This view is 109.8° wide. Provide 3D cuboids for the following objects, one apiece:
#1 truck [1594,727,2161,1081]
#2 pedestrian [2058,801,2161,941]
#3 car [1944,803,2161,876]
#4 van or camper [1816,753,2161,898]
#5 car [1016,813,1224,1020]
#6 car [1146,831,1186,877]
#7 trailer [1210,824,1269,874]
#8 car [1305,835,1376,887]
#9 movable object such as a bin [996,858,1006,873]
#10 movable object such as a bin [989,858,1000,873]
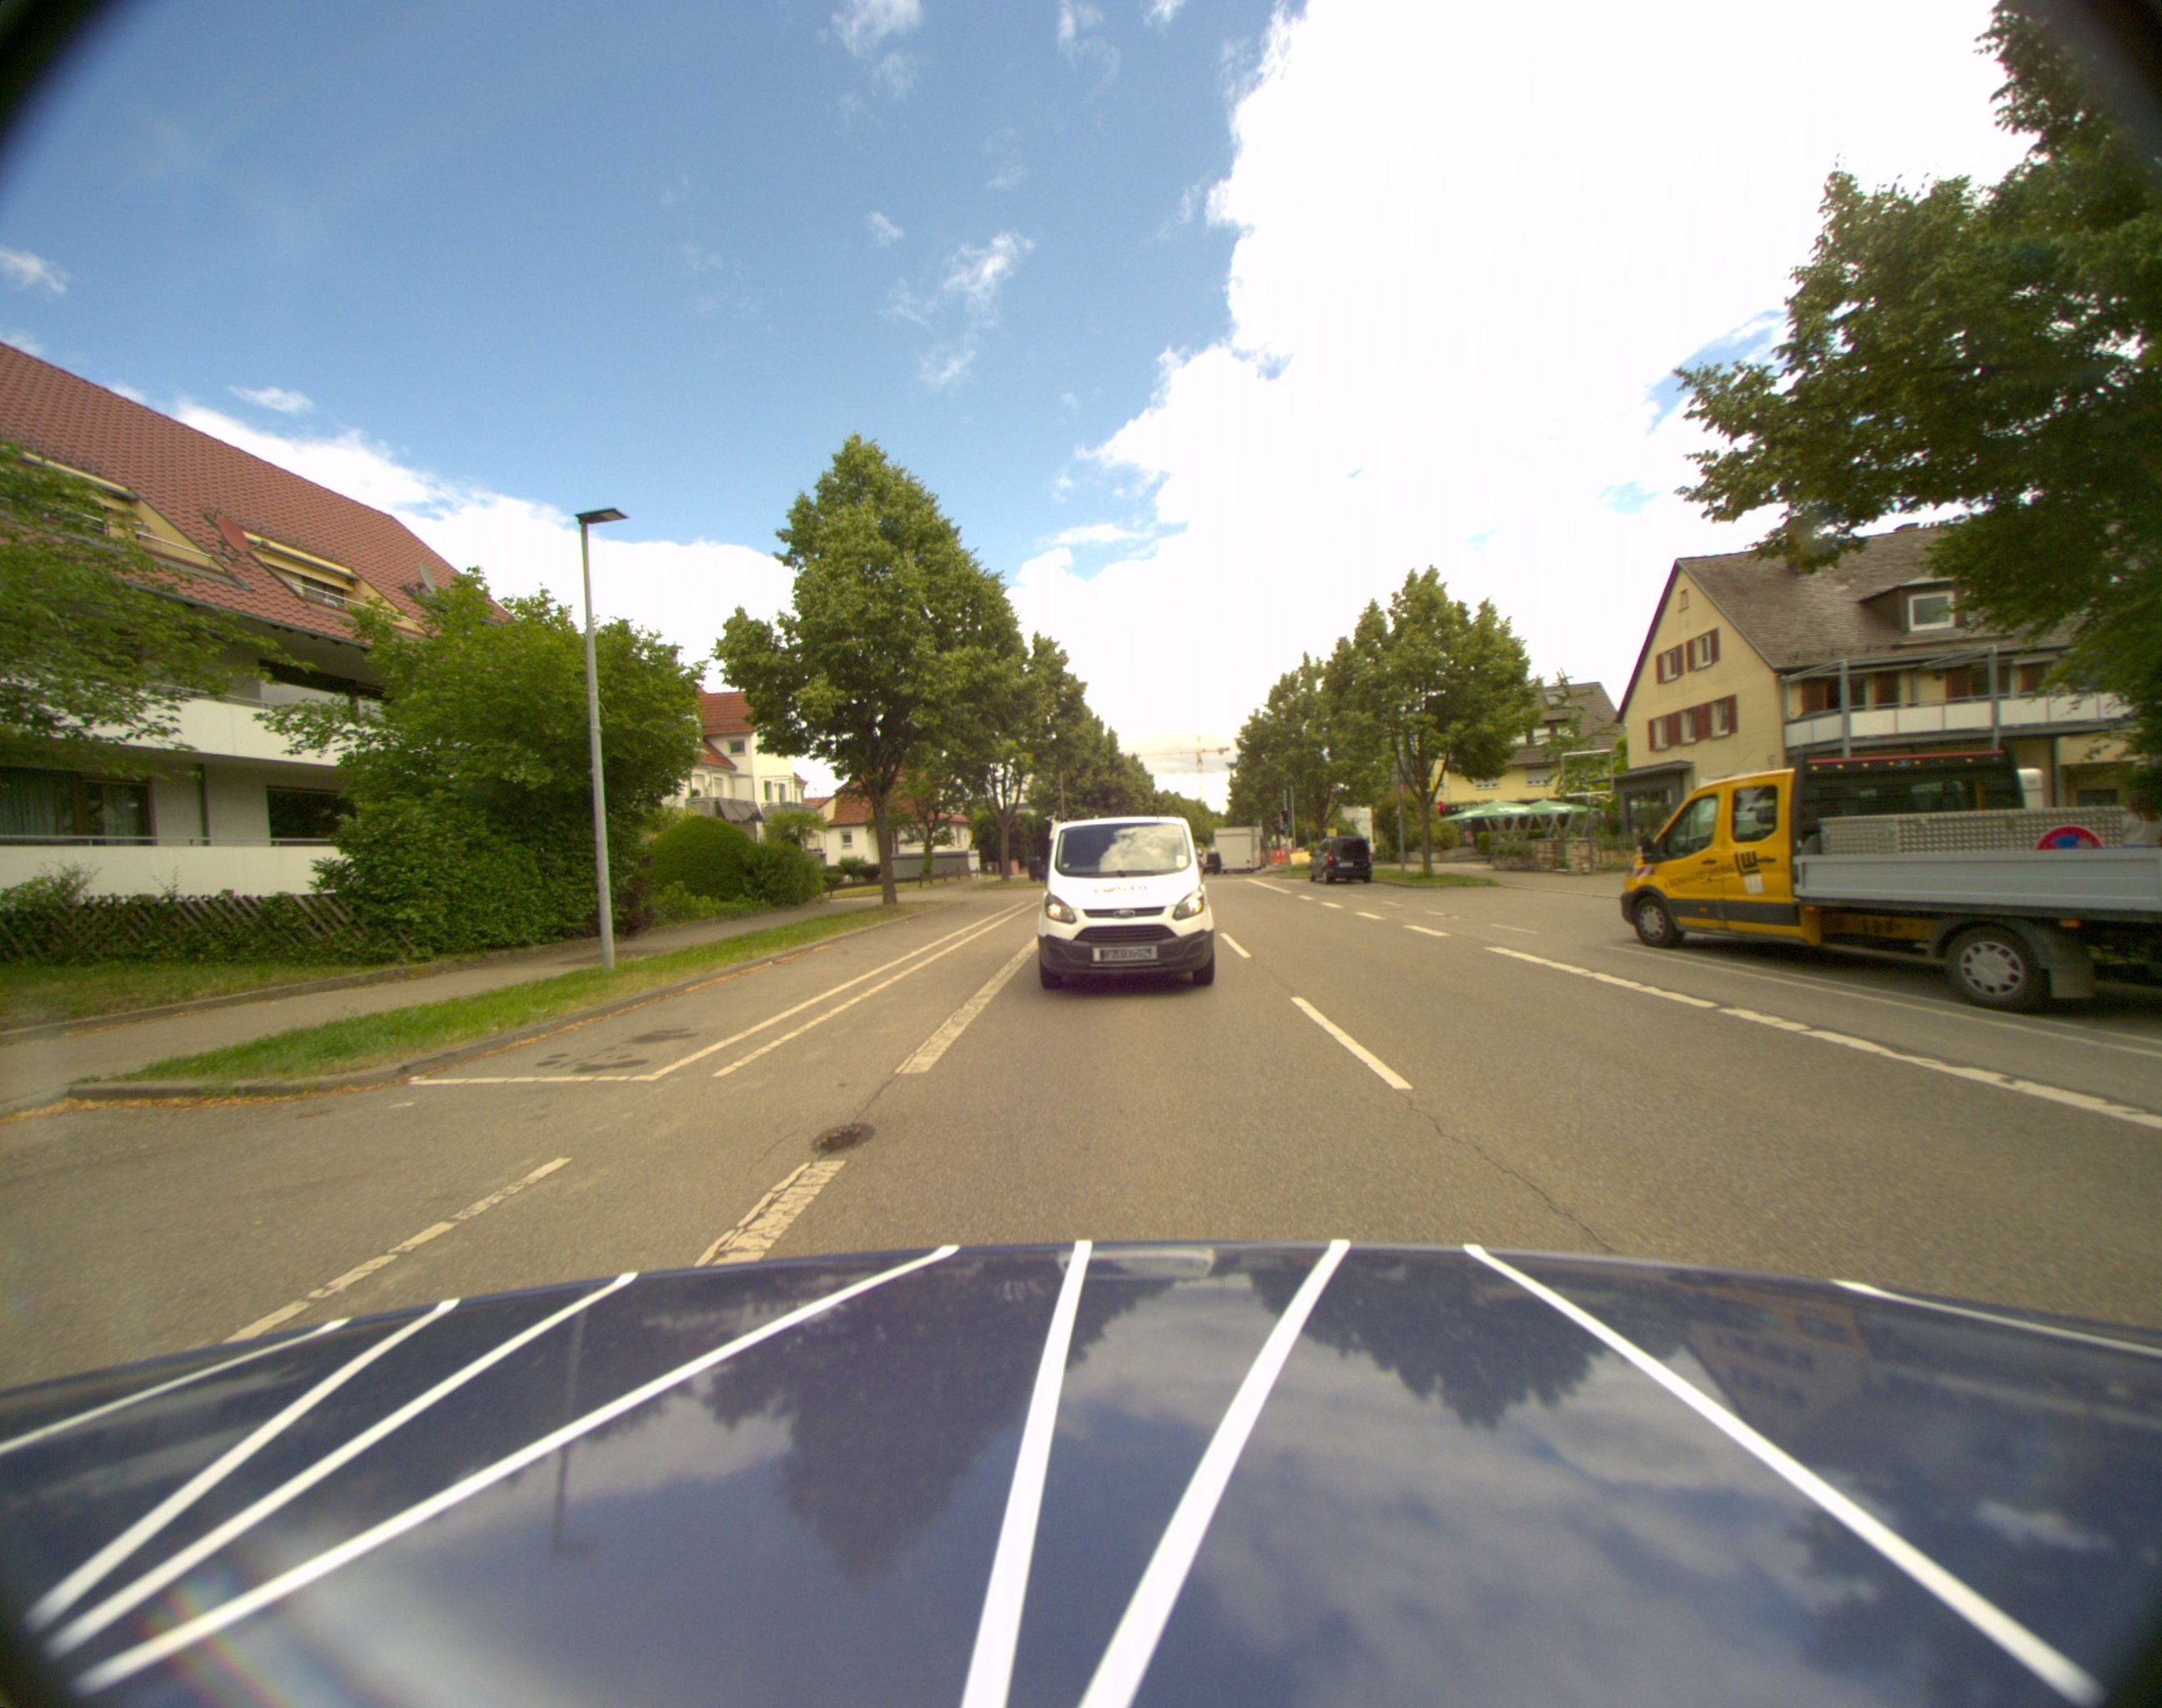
[{"bbox_3d":[8.387,0.258,7.856,2.300,2.274,6.465,-2,0,6],"label":"truck"},{"bbox_3d":[13.434,0.204,9.821,0.642,1.732,0.722,-2,1,6],"label":"pedestrian"},{"bbox_3d":[24.962,-0.375,19.565,1.843,1.652,4.005,-2,1,19],"label":"car"},{"bbox_3d":[21.511,-0.605,18.433,2.600,2.867,5.942,-2,1,13],"label":"van or camper"},{"bbox_3d":[0.594,0.612,10.218,1.998,2.002,5.320,-2,0,5],"label":"car"},{"bbox_3d":[5.223,-0.048,46.231,1.997,2.585,4.002,-3,1,11],"label":"car"},{"bbox_3d":[10.047,-0.350,47.540,2.637,2.862,6.879,-2,1,20],"label":"trailer"},{"bbox_3d":[10.242,0.234,30.320,1.711,1.863,4.400,-2,1,6],"label":"car"},{"bbox_3d":[-5.848,0.825,55.612,0.499,1.038,0.520,-2,1,19],"label":"movable object such as a bin"},{"bbox_3d":[-6.352,0.847,55.797,0.540,1.052,0.519,-2,1,20],"label":"movable object such as a bin"}]
